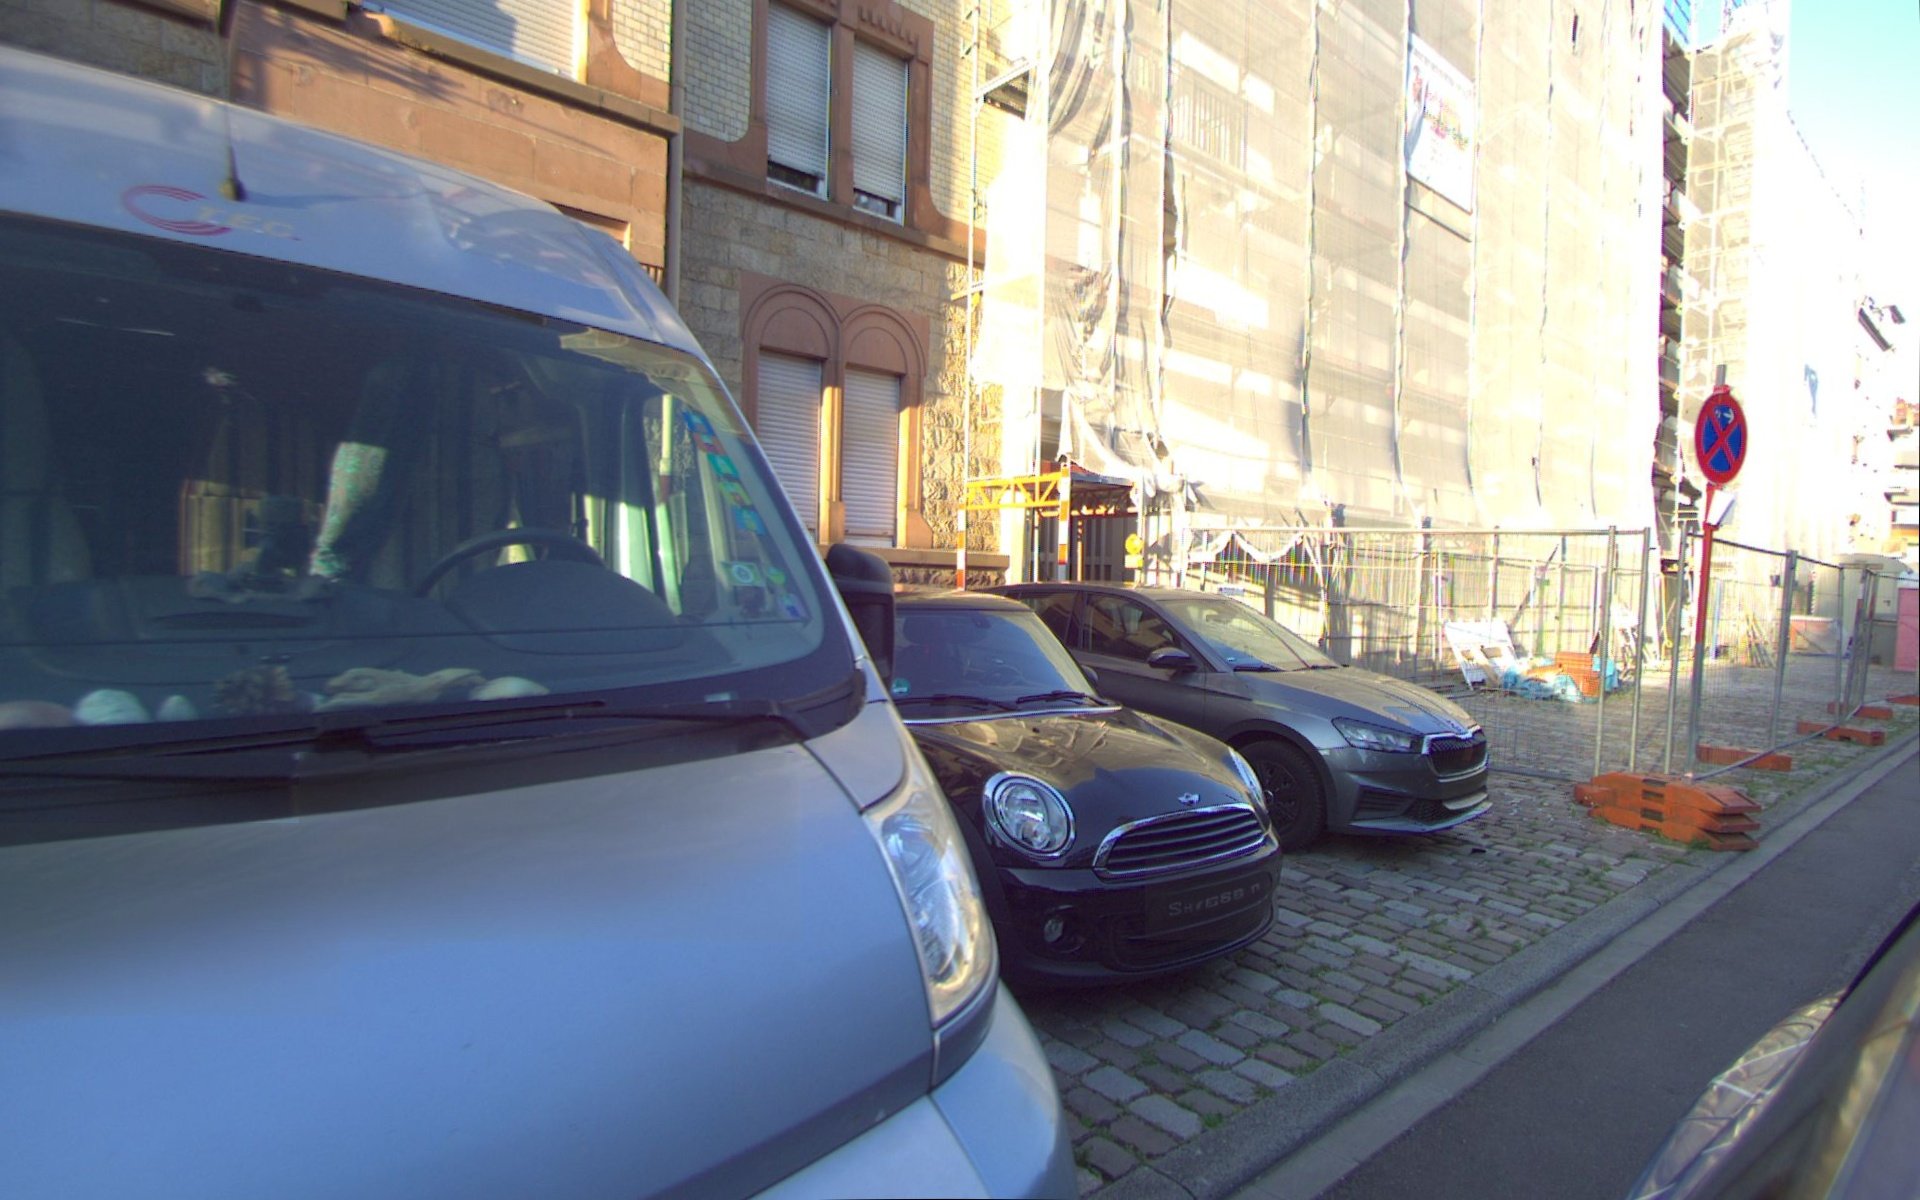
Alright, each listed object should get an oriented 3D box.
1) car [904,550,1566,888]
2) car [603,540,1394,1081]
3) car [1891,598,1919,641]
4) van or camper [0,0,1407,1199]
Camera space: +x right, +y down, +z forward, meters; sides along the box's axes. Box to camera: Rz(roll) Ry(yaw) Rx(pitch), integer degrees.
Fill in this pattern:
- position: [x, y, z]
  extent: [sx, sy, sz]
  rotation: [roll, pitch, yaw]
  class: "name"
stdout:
- position: [1.691, 0.522, 7.116]
  extent: [1.986, 1.534, 3.991]
  rotation: [0, 4, -44]
  class: "car"
- position: [-0.206, 0.510, 5.022]
  extent: [1.755, 1.504, 3.946]
  rotation: [-1, 4, -39]
  class: "car"
- position: [38.138, 0.787, 38.205]
  extent: [1.838, 1.636, 4.163]
  rotation: [1, 1, -39]
  class: "car"
- position: [-2.112, 0.050, 2.926]
  extent: [2.073, 2.805, 5.938]
  rotation: [0, 0, -41]
  class: "van or camper"
